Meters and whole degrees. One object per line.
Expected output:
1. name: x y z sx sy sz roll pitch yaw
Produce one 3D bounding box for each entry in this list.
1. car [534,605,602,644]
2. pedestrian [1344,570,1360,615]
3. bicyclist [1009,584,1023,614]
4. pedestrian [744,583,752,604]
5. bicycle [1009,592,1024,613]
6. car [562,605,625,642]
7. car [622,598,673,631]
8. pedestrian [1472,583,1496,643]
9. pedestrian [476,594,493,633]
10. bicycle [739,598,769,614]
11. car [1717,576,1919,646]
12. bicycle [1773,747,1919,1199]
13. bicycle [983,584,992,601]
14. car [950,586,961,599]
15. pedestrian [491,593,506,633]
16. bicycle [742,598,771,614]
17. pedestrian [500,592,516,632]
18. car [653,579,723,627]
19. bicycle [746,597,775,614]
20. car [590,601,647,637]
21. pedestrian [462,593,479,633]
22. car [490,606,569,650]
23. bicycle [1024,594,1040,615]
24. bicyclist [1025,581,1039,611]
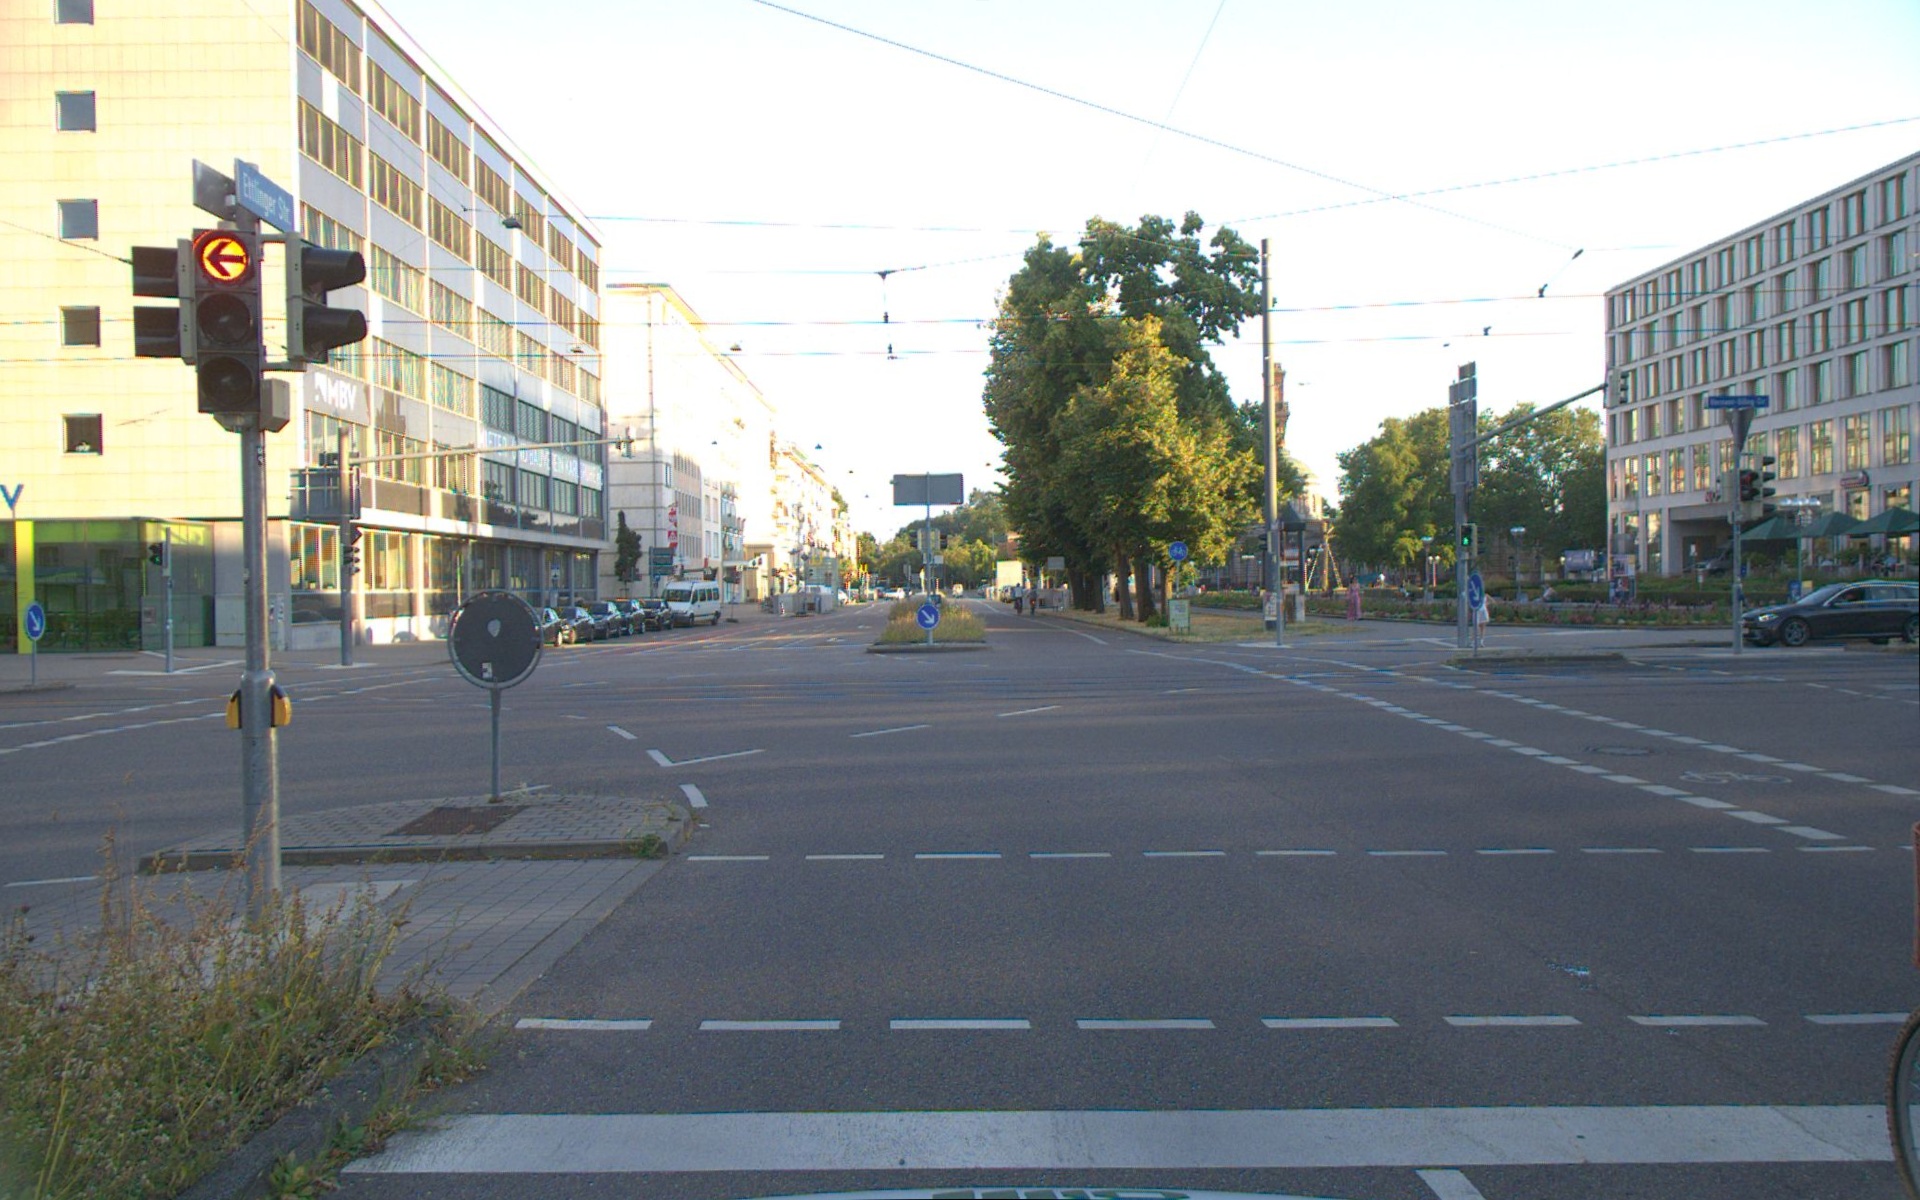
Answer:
1. car: -16.110 0.985 68.177 1.882 1.489 3.999 -1 0 -1
2. pedestrian: 14.681 -0.289 61.937 0.451 1.685 0.566 -1 0 -1
3. bicyclist: 3.224 -0.060 94.888 0.731 1.692 0.873 -1 0 -1
4. pedestrian: -21.121 -0.614 164.493 0.666 2.049 0.545 -1 0 -1
5. bicycle: 3.255 0.159 95.179 0.731 1.164 2.505 -1 0 -1
6. car: -16.130 1.005 72.991 1.882 1.489 3.999 -1 0 -1
7. car: -15.951 0.725 84.526 1.882 1.595 3.999 -1 0 -1
8. pedestrian: 13.754 0.335 43.414 0.480 1.566 0.408 -1 0 -1
9. pedestrian: -20.755 0.579 72.169 0.540 1.708 0.500 -1 0 -1
10. bicycle: -15.574 0.458 125.250 2.161 1.131 0.618 -1 0 -3
11. car: 21.095 0.245 39.932 4.724 1.542 2.000 -1 0 1
12. bicycle: 2.185 0.921 2.807 0.599 1.152 2.004 1 0 -1
13. bicycle: 3.440 -0.962 208.099 0.981 2.049 4.001 -1 0 3
14. car: -0.581 -0.968 216.289 1.379 1.670 3.998 -1 0 -2
15. pedestrian: -20.111 0.575 72.141 0.490 1.708 0.500 -1 0 -1
16. bicycle: -15.563 0.451 126.673 2.161 1.131 0.689 -1 0 -2
17. pedestrian: -19.556 0.502 71.532 0.540 1.708 0.500 -1 0 -1
18. car: -14.933 0.137 91.001 1.958 2.521 5.873 -1 0 9
19. bicycle: -15.527 0.399 128.646 2.161 1.258 0.839 -1 0 -2
20. car: -16.125 0.874 78.295 1.882 1.595 3.999 -1 0 -1
21. pedestrian: -21.106 0.569 71.313 0.540 1.708 0.500 -1 0 -1
22. car: -16.002 1.025 61.682 1.882 1.489 4.102 -1 0 -1
23. bicycle: 4.153 0.252 95.197 0.731 1.164 2.505 -1 0 -1
24. bicyclist: 4.141 -0.235 95.135 0.731 1.720 0.799 -1 0 -1
